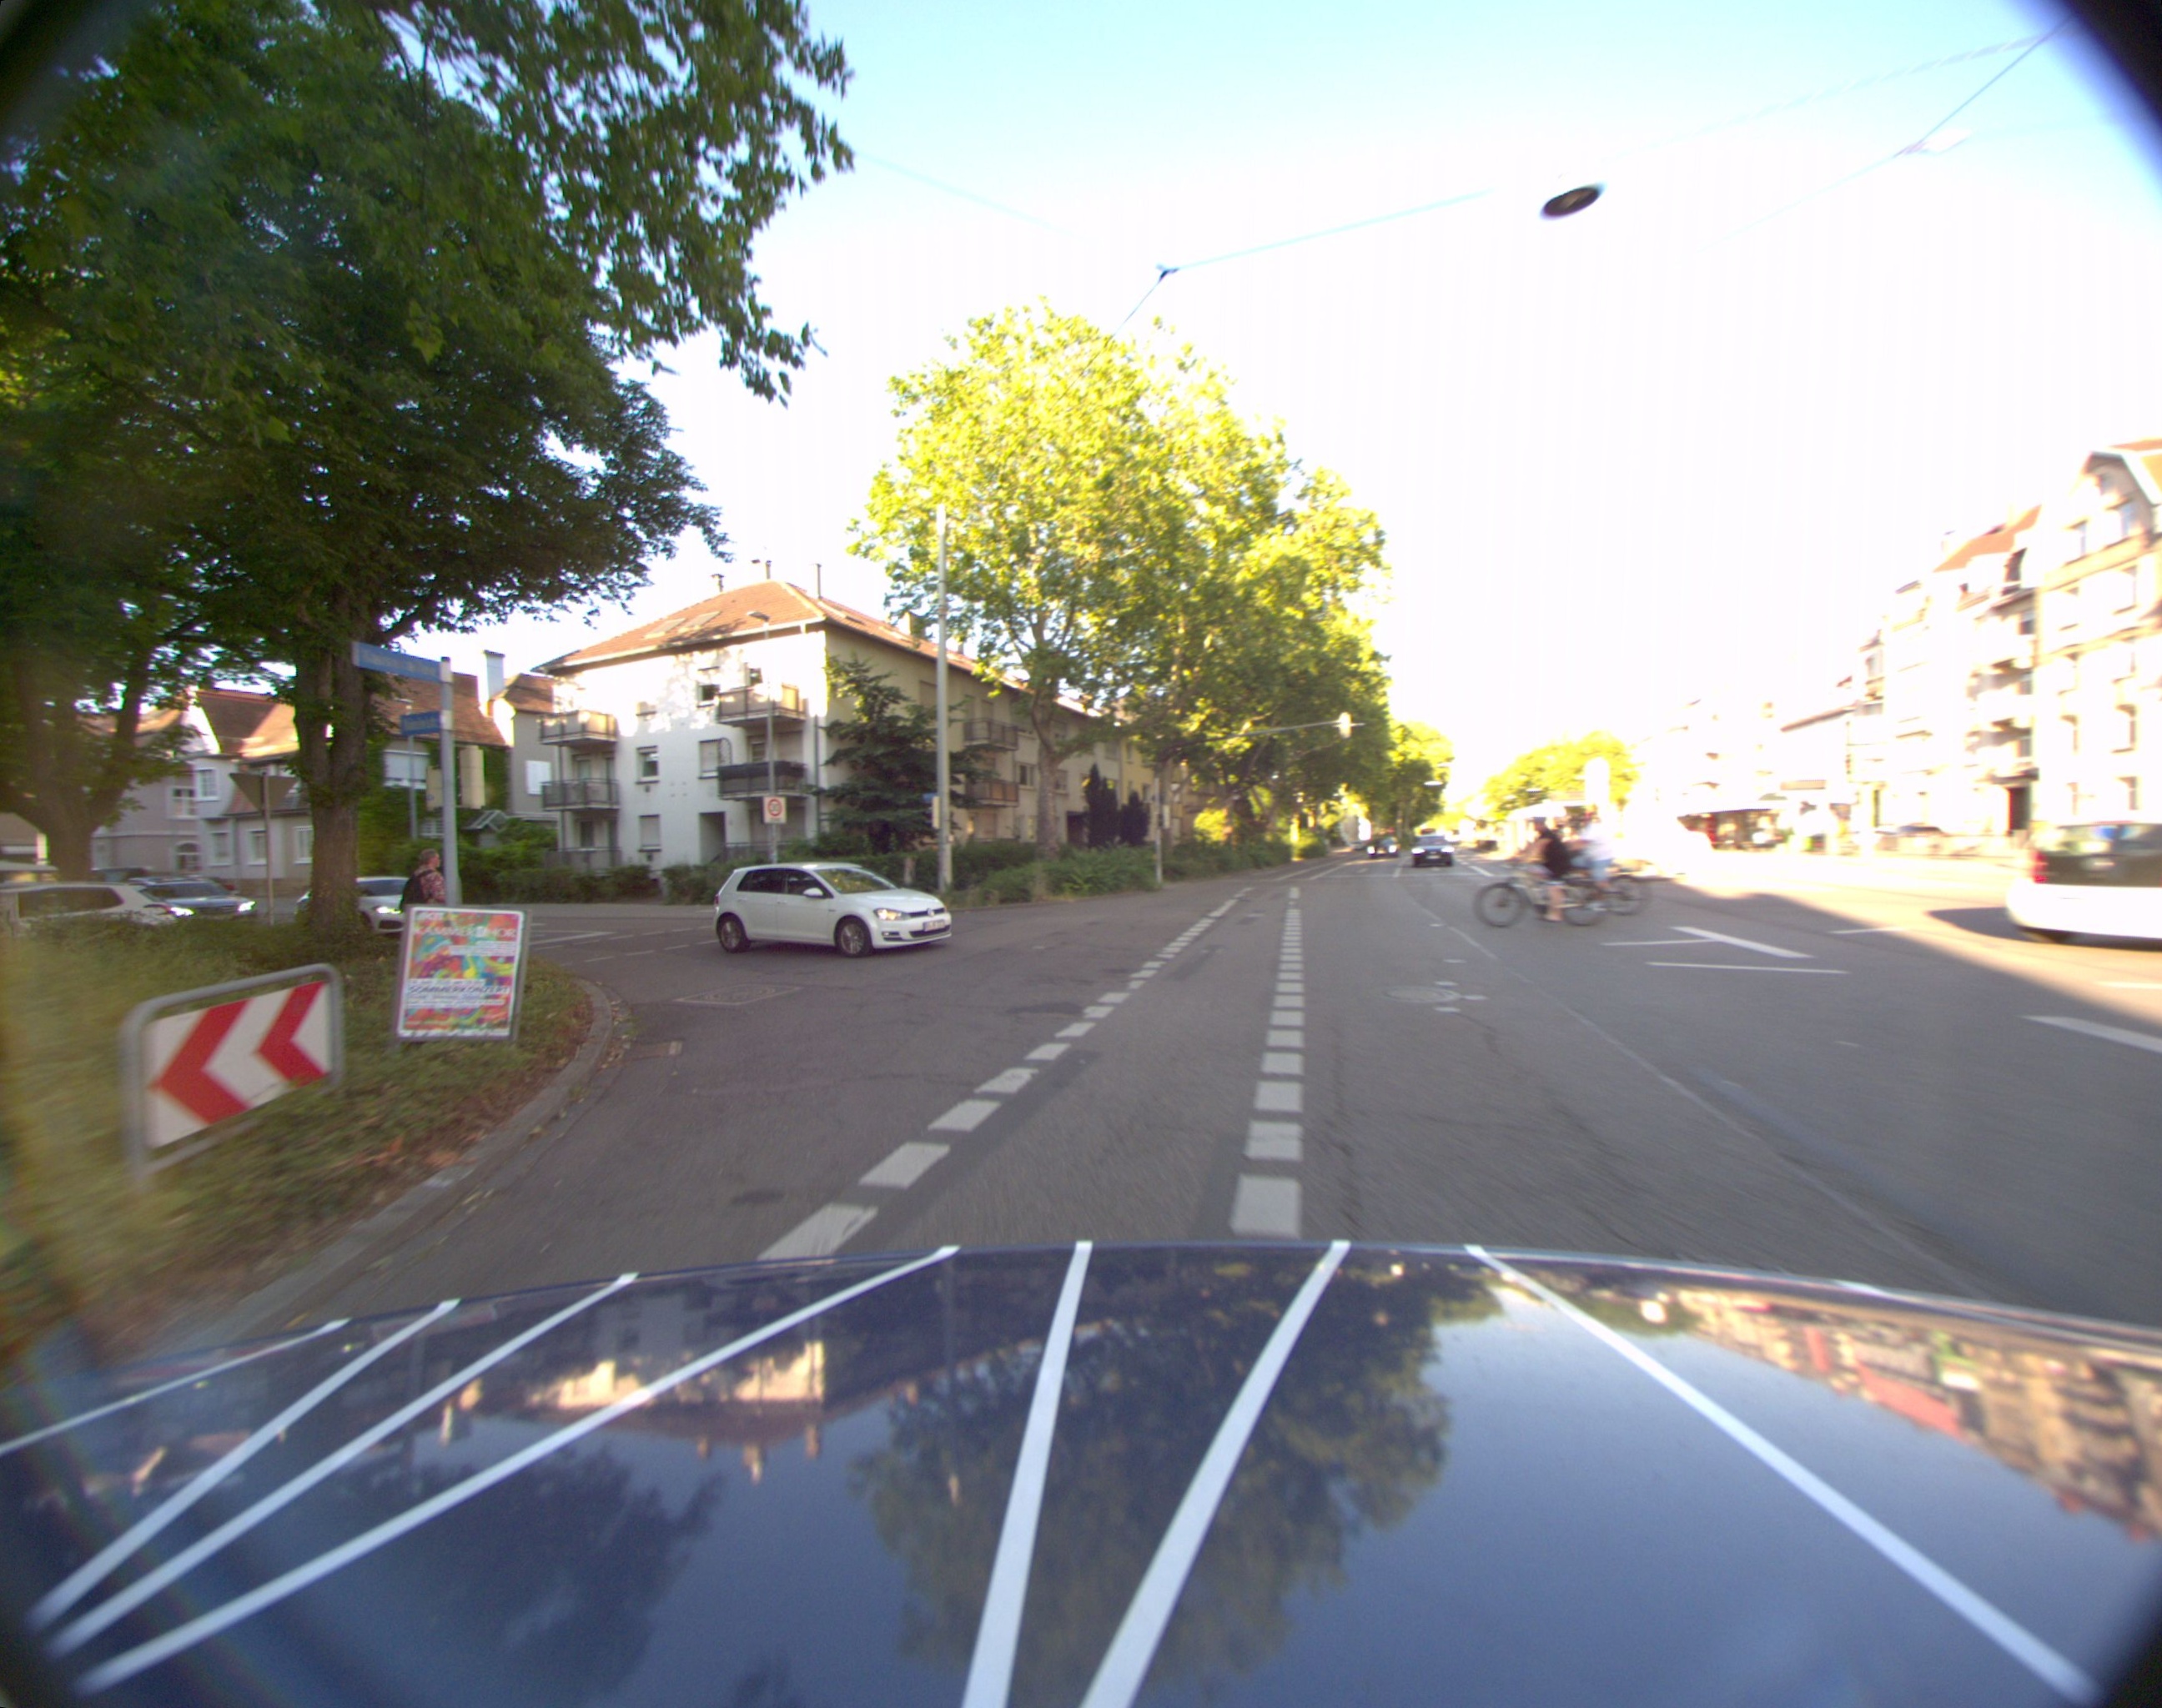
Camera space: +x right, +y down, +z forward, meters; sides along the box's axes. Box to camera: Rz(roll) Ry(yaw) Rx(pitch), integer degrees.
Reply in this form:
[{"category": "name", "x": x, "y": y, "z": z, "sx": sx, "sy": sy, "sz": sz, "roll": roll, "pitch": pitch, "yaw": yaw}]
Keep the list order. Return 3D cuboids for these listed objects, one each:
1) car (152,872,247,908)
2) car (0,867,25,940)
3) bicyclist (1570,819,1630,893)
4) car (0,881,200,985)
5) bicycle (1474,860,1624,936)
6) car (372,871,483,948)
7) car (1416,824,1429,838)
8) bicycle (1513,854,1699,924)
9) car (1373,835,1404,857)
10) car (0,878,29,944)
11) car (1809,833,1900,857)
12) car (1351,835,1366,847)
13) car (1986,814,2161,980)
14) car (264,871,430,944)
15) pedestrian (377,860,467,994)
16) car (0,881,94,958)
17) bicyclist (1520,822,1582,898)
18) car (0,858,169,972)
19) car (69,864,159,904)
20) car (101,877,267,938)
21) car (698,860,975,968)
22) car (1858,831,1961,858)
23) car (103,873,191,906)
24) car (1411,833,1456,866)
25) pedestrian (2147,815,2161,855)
[{"category": "car", "x": -39.905, "y": 1.627, "z": 34.382, "sx": 3.990, "sy": 1.446, "sz": 1.696, "roll": -1, "pitch": 3, "yaw": 25}, {"category": "car", "x": -31.505, "y": 1.462, "z": 19.503, "sx": 1.995, "sy": 2.002, "sz": 4.719, "roll": -1, "pitch": 2, "yaw": 24}, {"category": "bicyclist", "x": 8.885, "y": 0.029, "z": 13.038, "sx": 0.765, "sy": 1.229, "sz": 0.661, "roll": 0, "pitch": 3, "yaw": 27}, {"category": "car", "x": -18.067, "y": 1.332, "z": 12.659, "sx": 1.680, "sy": 1.566, "sz": 4.055, "roll": -1, "pitch": 0, "yaw": 24}, {"category": "bicycle", "x": 7.275, "y": 0.690, "z": 11.922, "sx": 1.920, "sy": 1.099, "sz": 0.654, "roll": -3, "pitch": 2, "yaw": 27}, {"category": "car", "x": -16.139, "y": 1.268, "z": 18.832, "sx": 1.848, "sy": 1.509, "sz": 4.010, "roll": -3, "pitch": 3, "yaw": -40}, {"category": "car", "x": 56.481, "y": -3.841, "z": 125.575, "sx": 1.875, "sy": 2.279, "sz": 4.006, "roll": -1, "pitch": 1, "yaw": 23}, {"category": "bicycle", "x": 8.913, "y": 0.601, "z": 13.050, "sx": 2.546, "sy": 1.099, "sz": 0.654, "roll": -2, "pitch": 2, "yaw": 27}, {"category": "car", "x": 23.557, "y": -0.614, "z": 58.130, "sx": 1.874, "sy": 1.587, "sz": 4.006, "roll": -1, "pitch": 1, "yaw": 27}, {"category": "car", "x": -29.601, "y": 1.581, "z": 18.531, "sx": 1.995, "sy": 1.678, "sz": 4.216, "roll": -1, "pitch": 2, "yaw": 24}, {"category": "car", "x": 51.004, "y": -0.593, "z": 50.187, "sx": 3.697, "sy": 1.456, "sz": 1.951, "roll": -1, "pitch": 2, "yaw": 19}, {"category": "car", "x": 40.392, "y": -1.876, "z": 110.575, "sx": 1.875, "sy": 1.587, "sz": 4.006, "roll": -1, "pitch": 1, "yaw": 23}, {"category": "car", "x": 11.965, "y": 0.314, "z": 7.563, "sx": 3.811, "sy": 1.472, "sz": 1.737, "roll": -3, "pitch": 2, "yaw": 1}, {"category": "car", "x": -18.213, "y": 1.238, "z": 18.831, "sx": 4.045, "sy": 1.517, "sz": 1.784, "roll": 0, "pitch": 2, "yaw": 29}, {"category": "pedestrian", "x": -9.348, "y": 1.000, "z": 10.787, "sx": 0.664, "sy": 1.796, "sz": 0.703, "roll": 0, "pitch": 3, "yaw": 31}, {"category": "car", "x": -25.408, "y": 1.556, "z": 16.632, "sx": 1.968, "sy": 1.619, "sz": 4.216, "roll": -1, "pitch": 2, "yaw": 24}, {"category": "bicyclist", "x": 7.316, "y": 0.083, "z": 11.859, "sx": 0.765, "sy": 1.151, "sz": 0.613, "roll": 0, "pitch": 3, "yaw": 27}, {"category": "car", "x": -20.511, "y": 1.140, "z": 13.983, "sx": 1.754, "sy": 1.973, "sz": 4.442, "roll": 2, "pitch": 2, "yaw": 26}, {"category": "car", "x": -50.036, "y": 1.526, "z": 39.314, "sx": 4.278, "sy": 1.895, "sz": 1.824, "roll": -1, "pitch": 3, "yaw": 25}, {"category": "car", "x": -26.022, "y": 1.473, "z": 22.019, "sx": 4.741, "sy": 1.509, "sz": 1.847, "roll": -1, "pitch": 2, "yaw": 25}, {"category": "car", "x": -4.003, "y": 0.878, "z": 12.460, "sx": 4.100, "sy": 1.442, "sz": 1.847, "roll": -1, "pitch": 2, "yaw": 25}, {"category": "car", "x": 49.796, "y": -0.583, "z": 45.770, "sx": 3.697, "sy": 1.456, "sz": 1.951, "roll": -1, "pitch": 2, "yaw": 19}, {"category": "car", "x": -45.735, "y": 1.709, "z": 37.192, "sx": 3.990, "sy": 1.446, "sz": 1.696, "roll": -1, "pitch": 3, "yaw": 25}, {"category": "car", "x": 17.964, "y": -0.256, "z": 38.645, "sx": 1.874, "sy": 1.587, "sz": 4.006, "roll": -1, "pitch": 1, "yaw": 27}, {"category": "pedestrian", "x": 49.610, "y": -0.877, "z": 34.867, "sx": 0.639, "sy": 1.827, "sz": 0.477, "roll": 0, "pitch": 3, "yaw": 26}]
